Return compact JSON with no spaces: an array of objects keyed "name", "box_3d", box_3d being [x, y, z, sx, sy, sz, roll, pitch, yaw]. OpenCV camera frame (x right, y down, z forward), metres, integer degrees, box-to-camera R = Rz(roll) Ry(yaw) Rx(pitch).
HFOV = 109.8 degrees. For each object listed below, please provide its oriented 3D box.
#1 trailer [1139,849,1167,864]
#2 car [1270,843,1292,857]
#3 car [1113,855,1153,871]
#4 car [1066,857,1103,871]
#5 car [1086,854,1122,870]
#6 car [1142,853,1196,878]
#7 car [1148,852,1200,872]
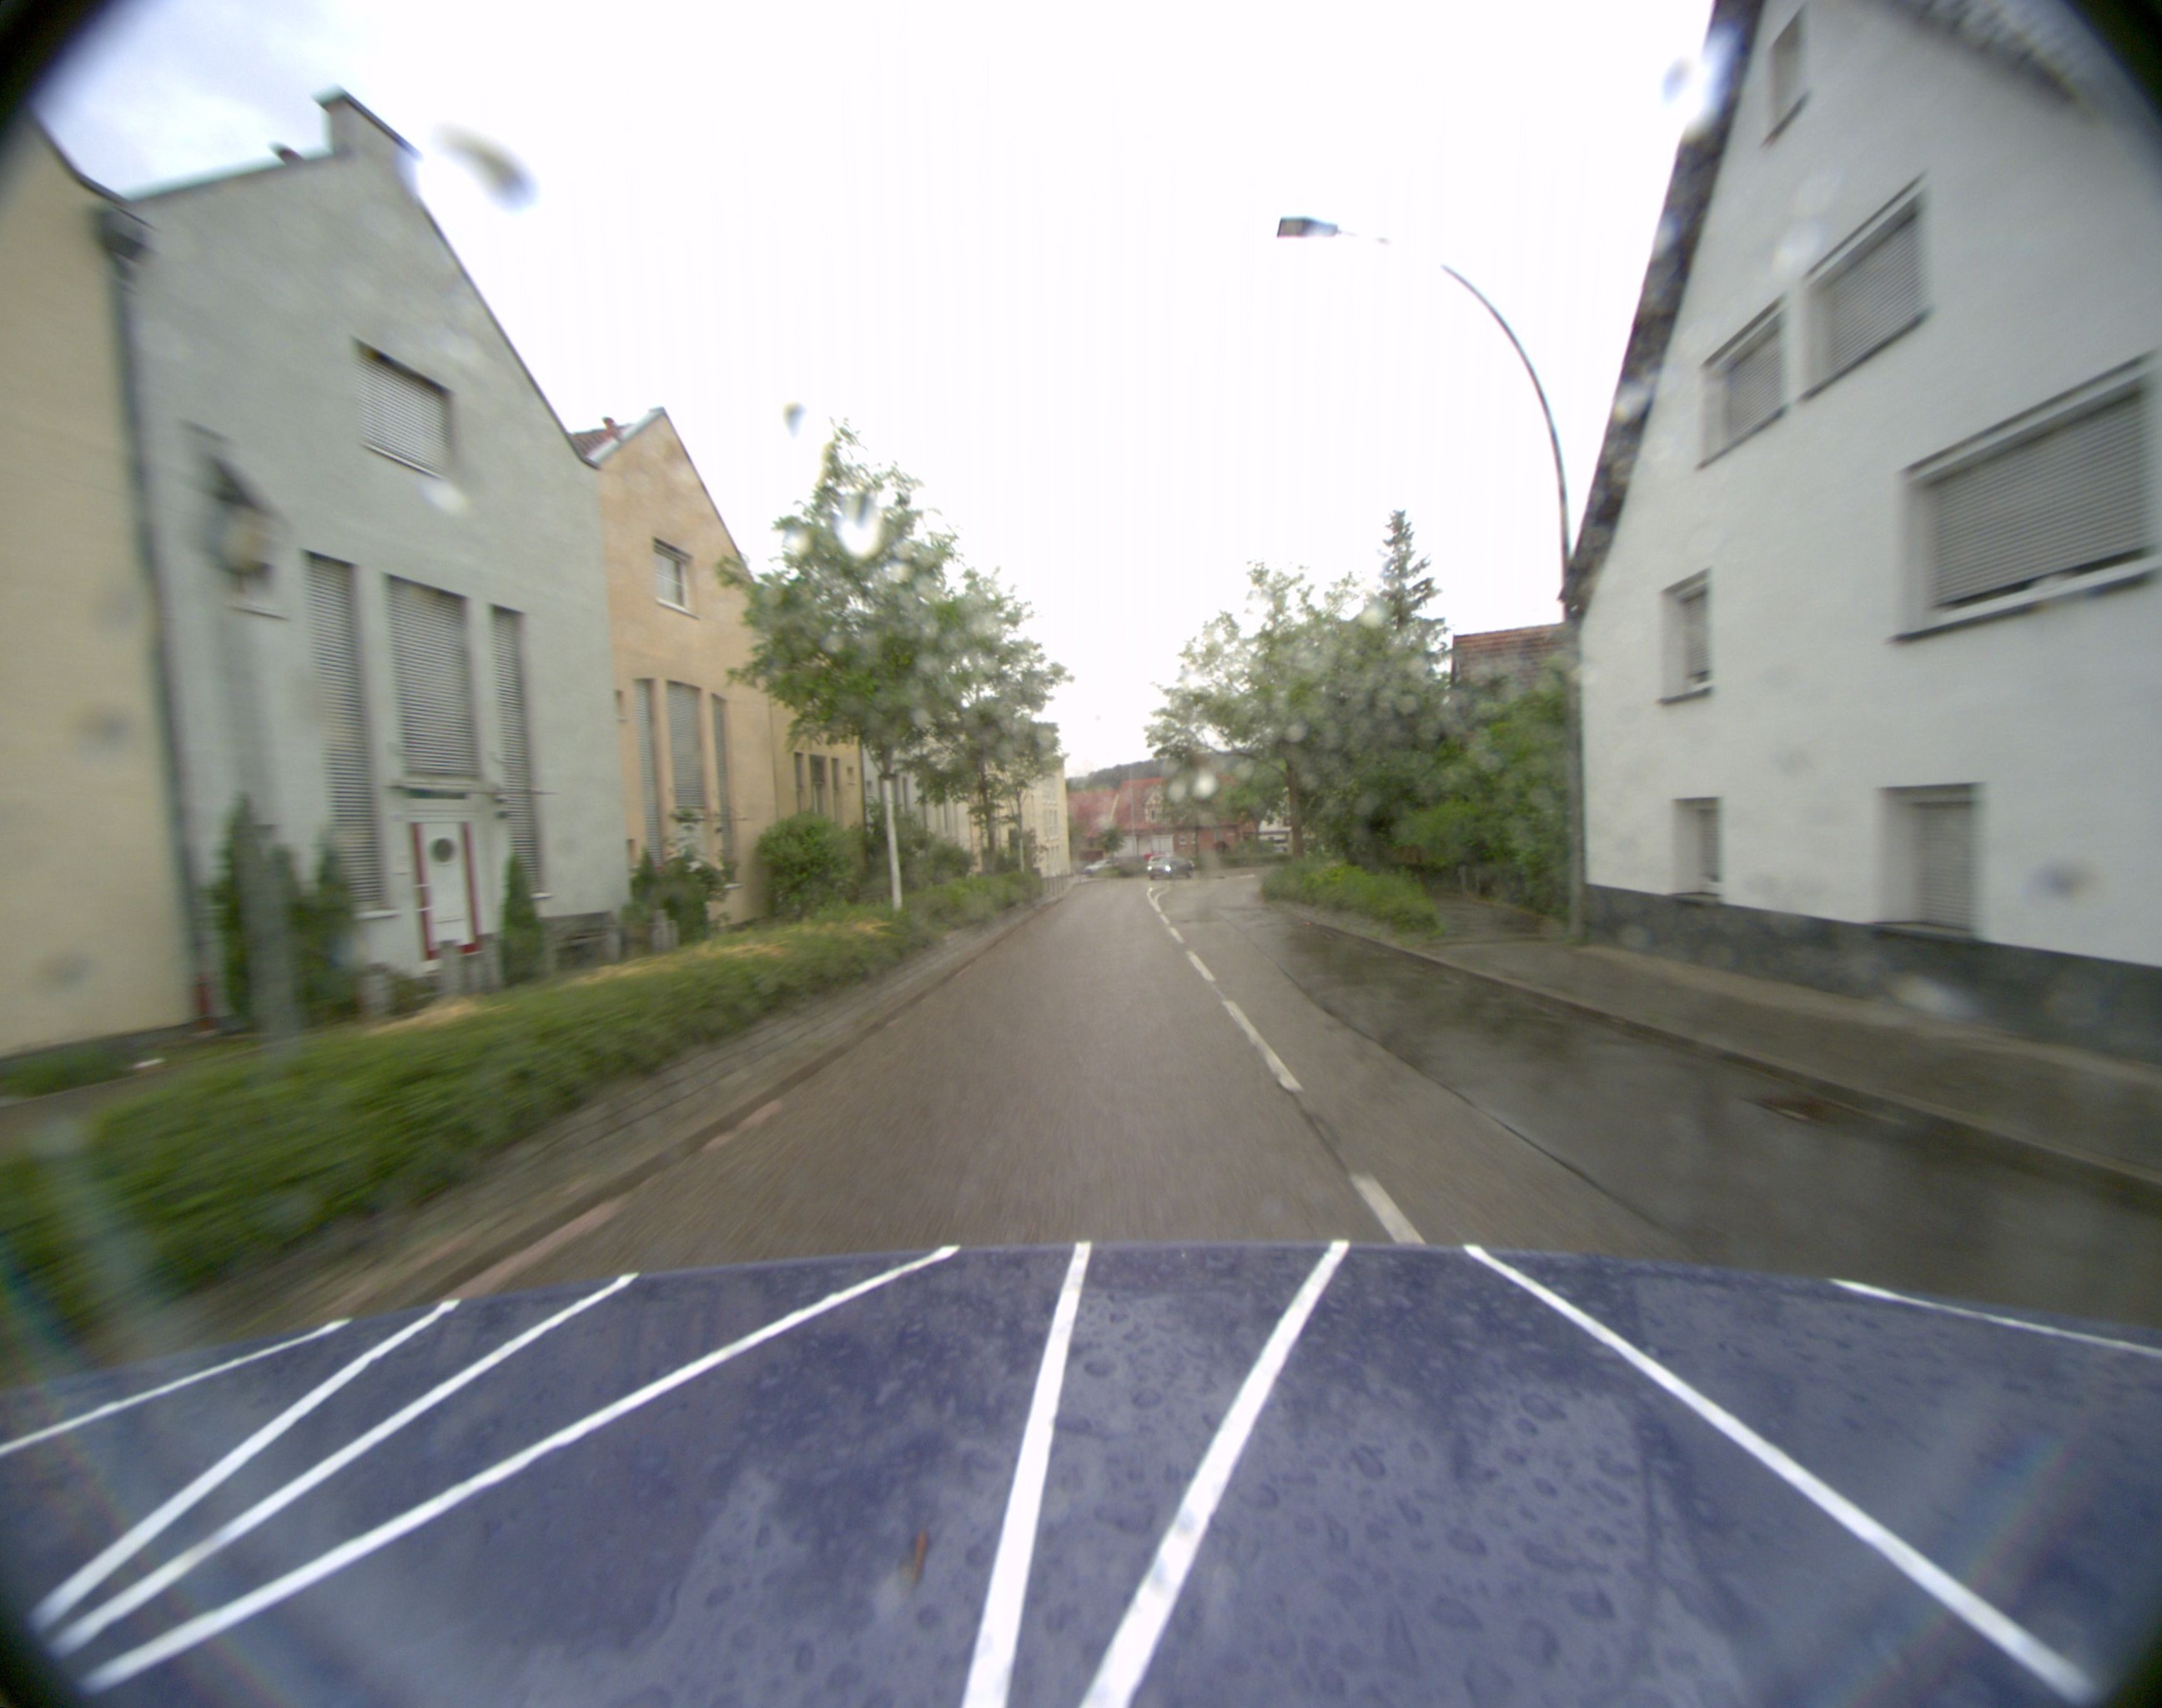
[{"name":"trailer","box_3d":[8.121,0.287,85.215,2.718,1.640,1.415,-2,1,32]},{"name":"car","box_3d":[23.094,-0.486,87.806,1.598,1.487,4.006,-3,0,26]},{"name":"car","box_3d":[5.385,0.910,78.464,3.738,1.382,1.620,-4,1,-28]},{"name":"car","box_3d":[0.432,1.064,83.586,1.875,1.368,4.007,-2,1,41]},{"name":"car","box_3d":[2.470,0.860,81.389,1.619,1.382,4.007,-2,1,40]},{"name":"car","box_3d":[6.188,0.790,52.839,1.995,1.521,4.007,-2,1,35]},{"name":"car","box_3d":[7.787,0.680,63.861,1.760,1.527,4.138,-5,2,-44]}]
